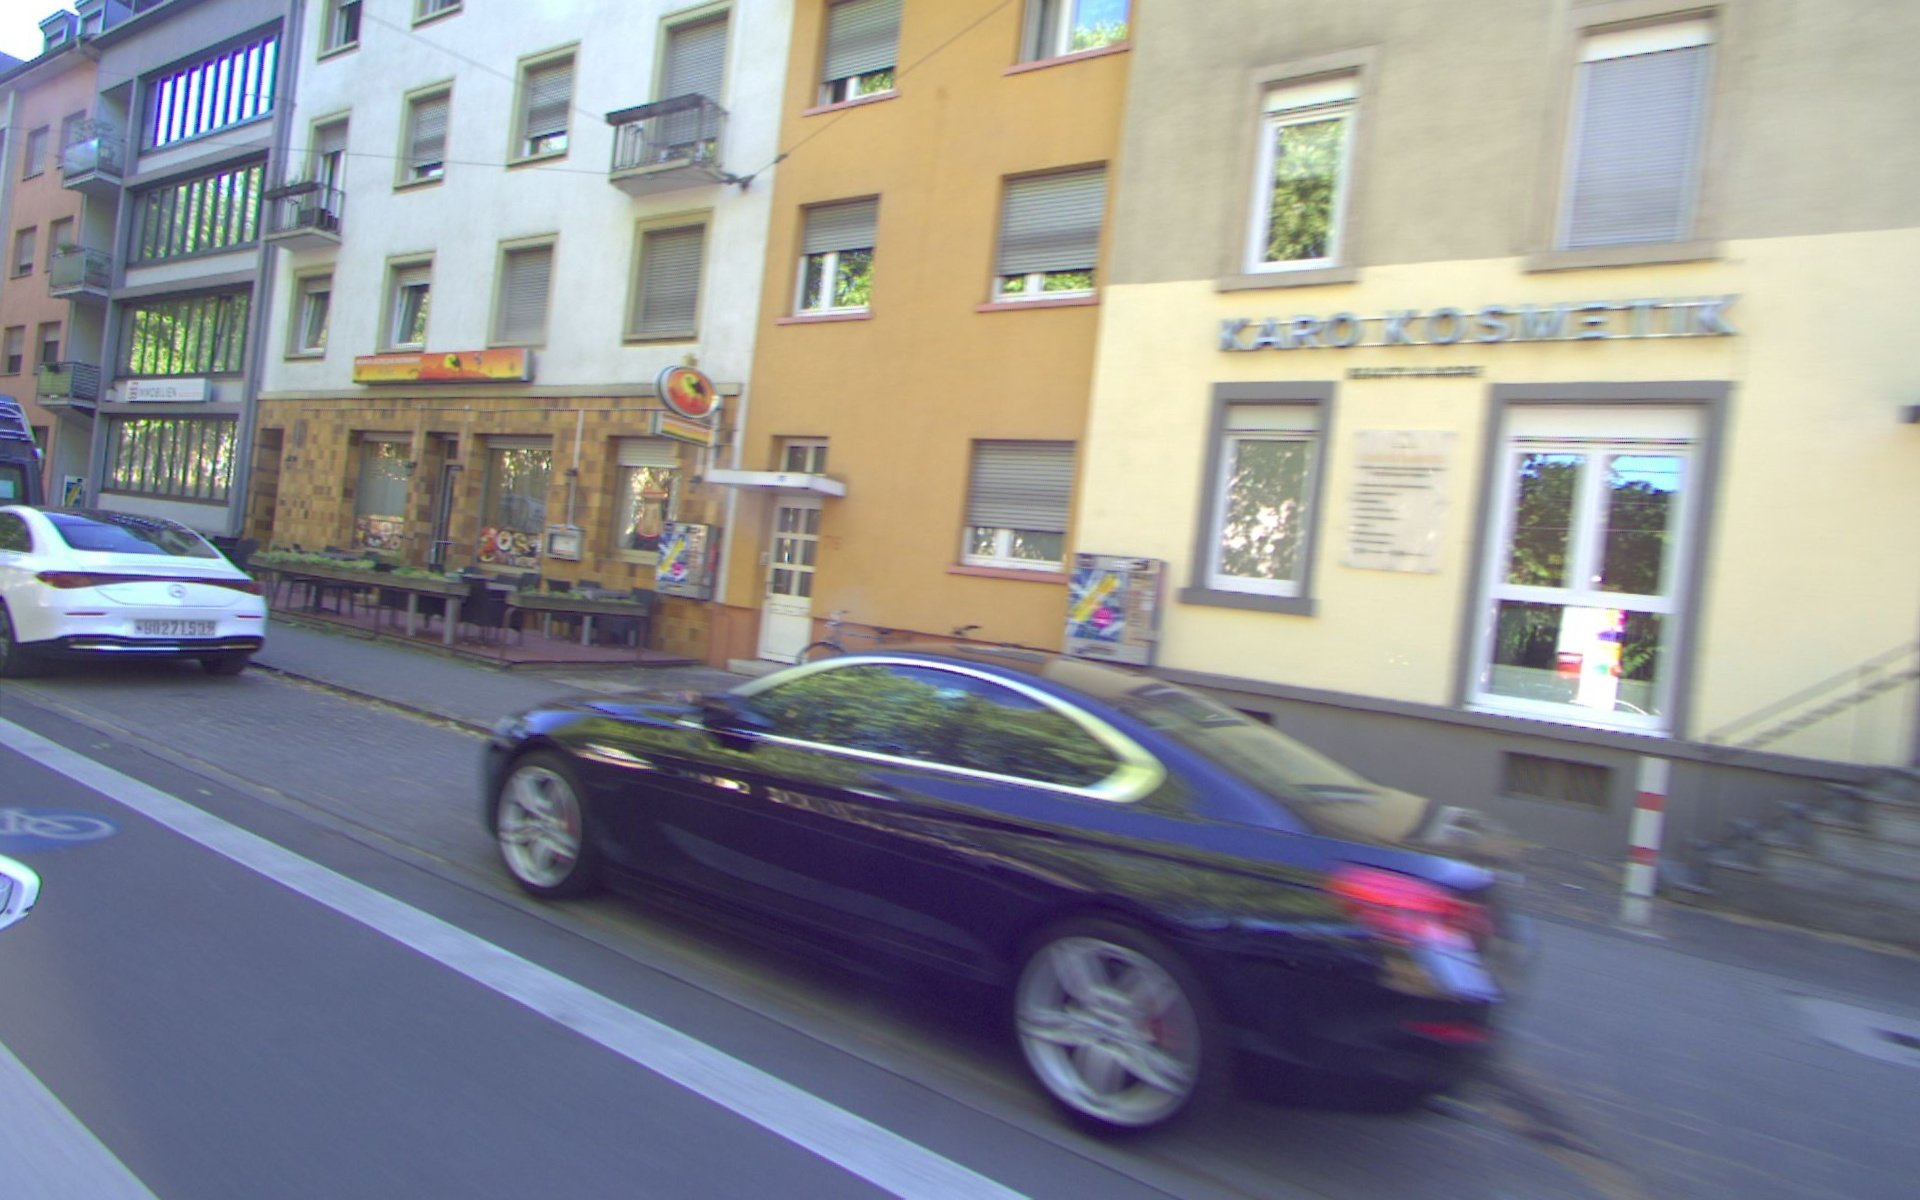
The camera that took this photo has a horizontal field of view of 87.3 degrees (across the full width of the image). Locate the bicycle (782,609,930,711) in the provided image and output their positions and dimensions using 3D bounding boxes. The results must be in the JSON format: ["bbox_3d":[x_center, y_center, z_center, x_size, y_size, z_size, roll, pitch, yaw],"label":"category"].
[{"bbox_3d":[-1.300,0.717,12.359,1.827,1.009,0.427,7,0,32],"label":"bicycle"}]

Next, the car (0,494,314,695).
[{"bbox_3d":[-8.655,-0.191,9.933,4.662,1.513,1.994,7,1,32],"label":"car"}]

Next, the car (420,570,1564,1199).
[{"bbox_3d":[-0.084,0.819,4.512,4.661,1.398,1.995,7,1,32],"label":"car"}]

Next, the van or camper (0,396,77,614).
[{"bbox_3d":[-14.319,-1.447,13.594,4.897,2.698,2.133,7,2,32],"label":"van or camper"}]

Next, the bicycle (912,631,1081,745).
[{"bbox_3d":[0.386,0.965,11.305,1.827,1.009,0.427,7,0,32],"label":"bicycle"}]
